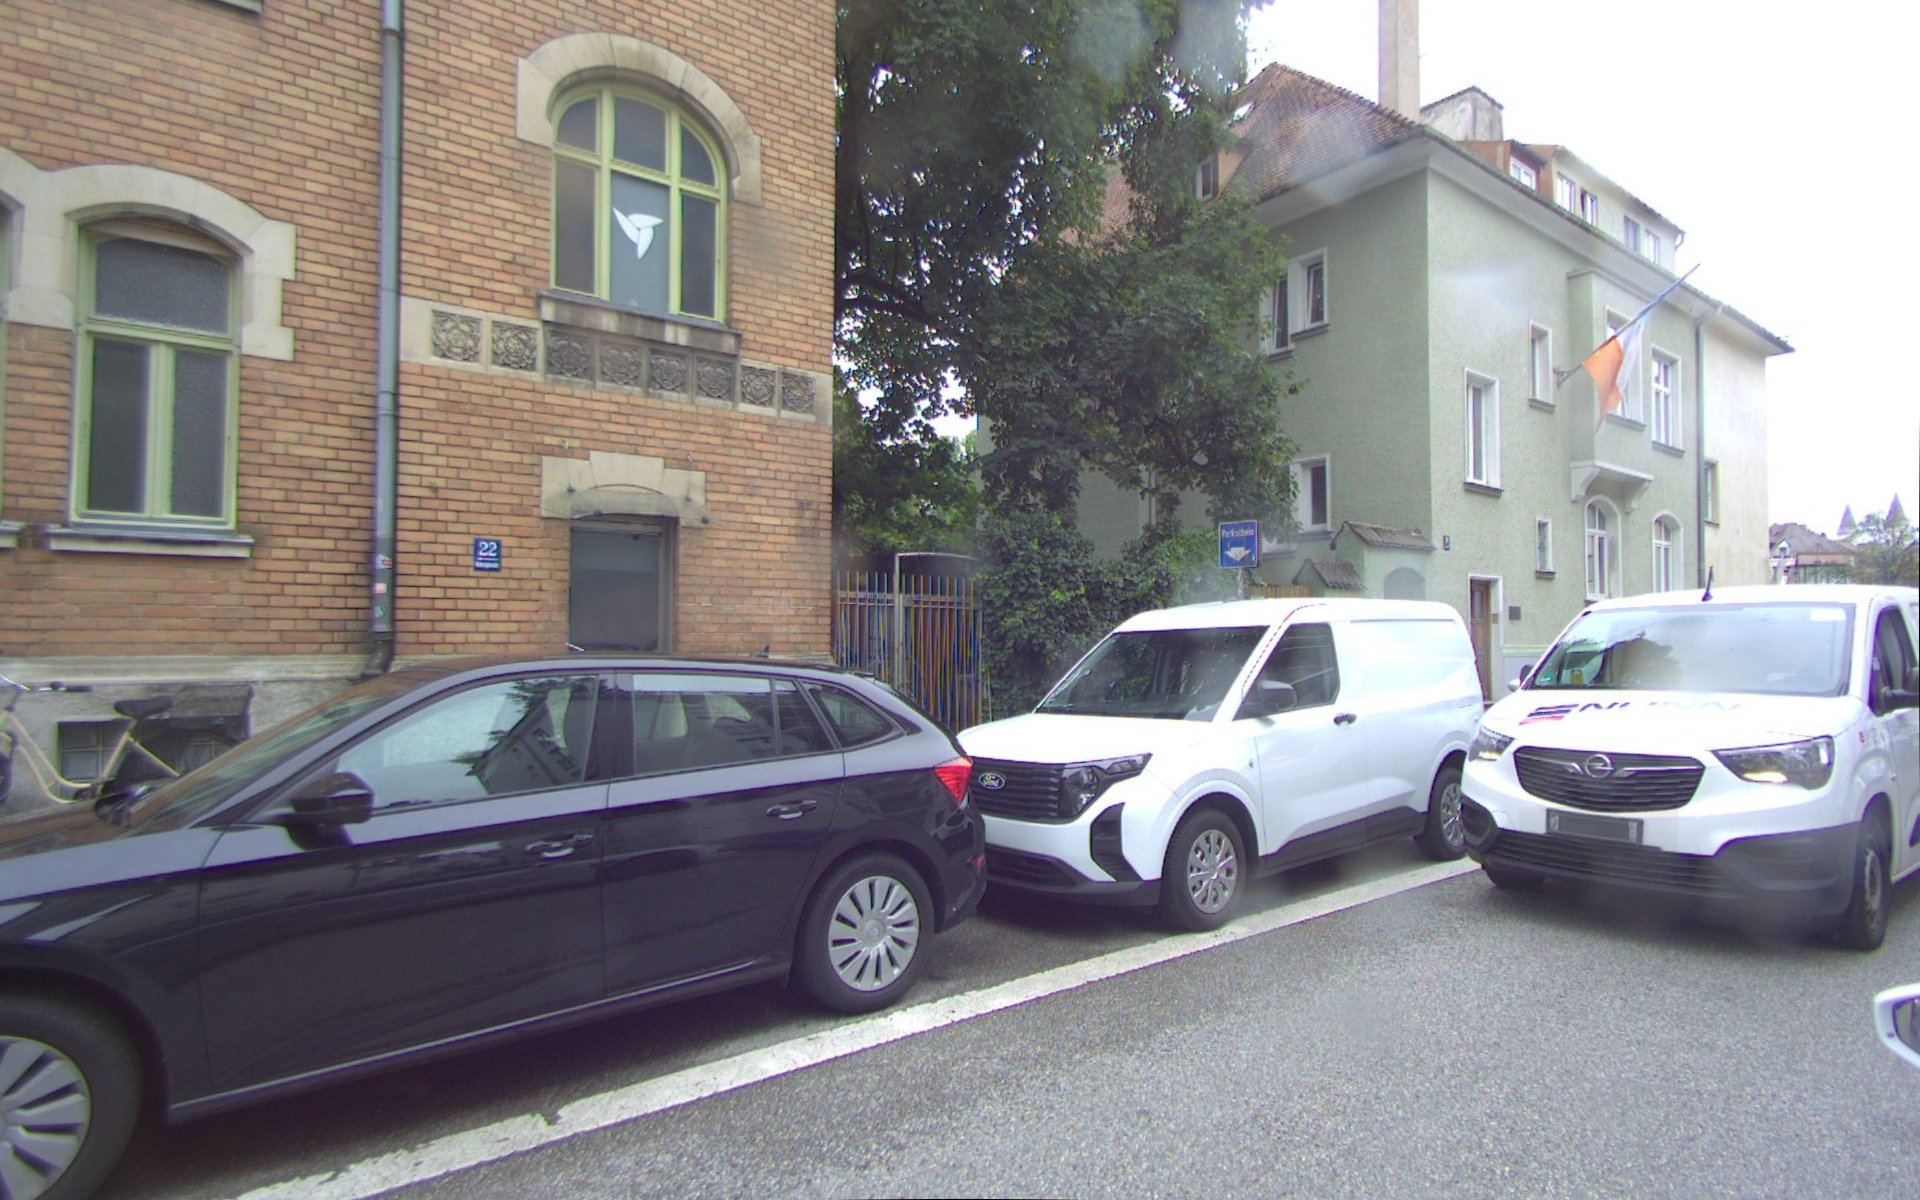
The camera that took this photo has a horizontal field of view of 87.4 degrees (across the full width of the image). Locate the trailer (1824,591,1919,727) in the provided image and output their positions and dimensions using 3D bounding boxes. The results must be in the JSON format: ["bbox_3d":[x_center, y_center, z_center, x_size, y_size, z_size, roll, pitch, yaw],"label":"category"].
[{"bbox_3d":[19.217,1.160,20.173,4.342,2.493,1.699,1,-4,-35],"label":"trailer"}]

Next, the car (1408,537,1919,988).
[{"bbox_3d":[4.813,0.777,6.171,4.529,1.827,1.759,2,-4,-37],"label":"car"}]

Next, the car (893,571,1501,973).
[{"bbox_3d":[1.728,0.874,6.559,4.109,1.827,1.677,2,-4,-39],"label":"car"}]

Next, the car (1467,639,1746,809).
[{"bbox_3d":[6.776,1.163,10.430,3.285,1.485,1.462,2,-4,-39],"label":"car"}]

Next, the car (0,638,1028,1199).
[{"bbox_3d":[-1.831,0.905,3.916,4.108,1.461,1.678,2,-4,-38],"label":"car"}]

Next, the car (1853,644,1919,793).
[{"bbox_3d":[10.874,1.192,10.527,3.579,1.429,1.570,2,-3,-37],"label":"car"}]

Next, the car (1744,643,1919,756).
[{"bbox_3d":[14.525,1.553,16.515,3.887,1.623,1.674,2,-4,-39],"label":"car"}]

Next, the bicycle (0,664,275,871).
[{"bbox_3d":[-5.353,0.992,6.222,1.810,1.143,0.627,1,-2,-36],"label":"bicycle"}]
